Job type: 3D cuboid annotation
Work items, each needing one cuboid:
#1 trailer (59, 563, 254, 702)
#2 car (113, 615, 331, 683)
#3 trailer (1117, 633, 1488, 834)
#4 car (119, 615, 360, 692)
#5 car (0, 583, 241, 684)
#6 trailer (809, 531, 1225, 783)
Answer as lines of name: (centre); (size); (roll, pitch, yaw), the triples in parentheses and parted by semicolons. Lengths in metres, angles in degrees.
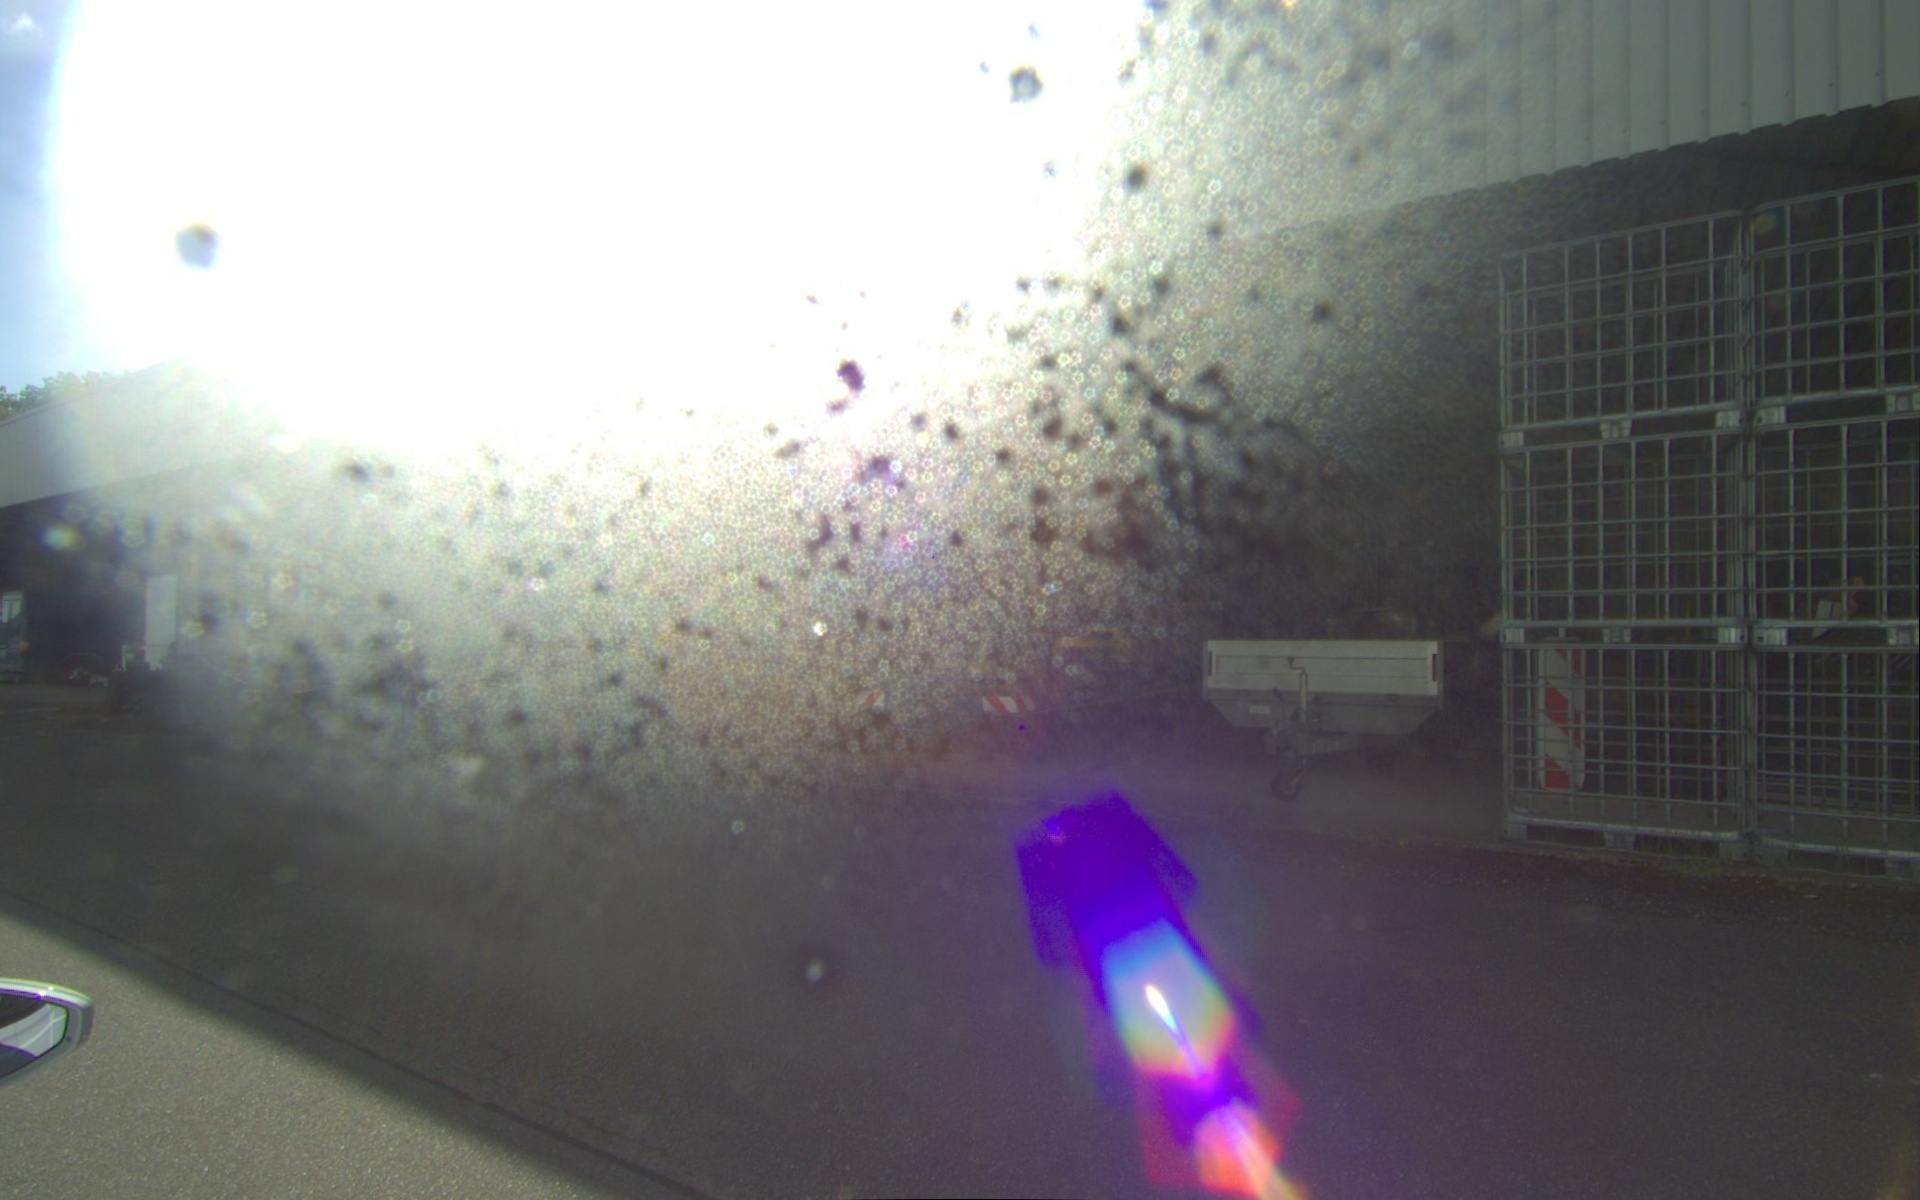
trailer: (-15.262, 0.631, 19.090); (1.703, 2.429, 2.518); (-2, -2, 33)
car: (-18.217, 1.250, 24.906); (1.662, 1.543, 4.031); (-3, -5, 33)
trailer: (3.507, 0.915, 9.173); (2.110, 1.148, 5.839); (-1, -1, 30)
car: (-15.877, 1.224, 22.290); (1.662, 1.543, 4.031); (-3, -5, 33)
car: (-21.370, 0.935, 25.635); (1.890, 2.337, 4.425); (-3, -4, 33)
trailer: (1.015, 0.521, 11.154); (2.049, 2.058, 5.753); (-1, -1, 33)
